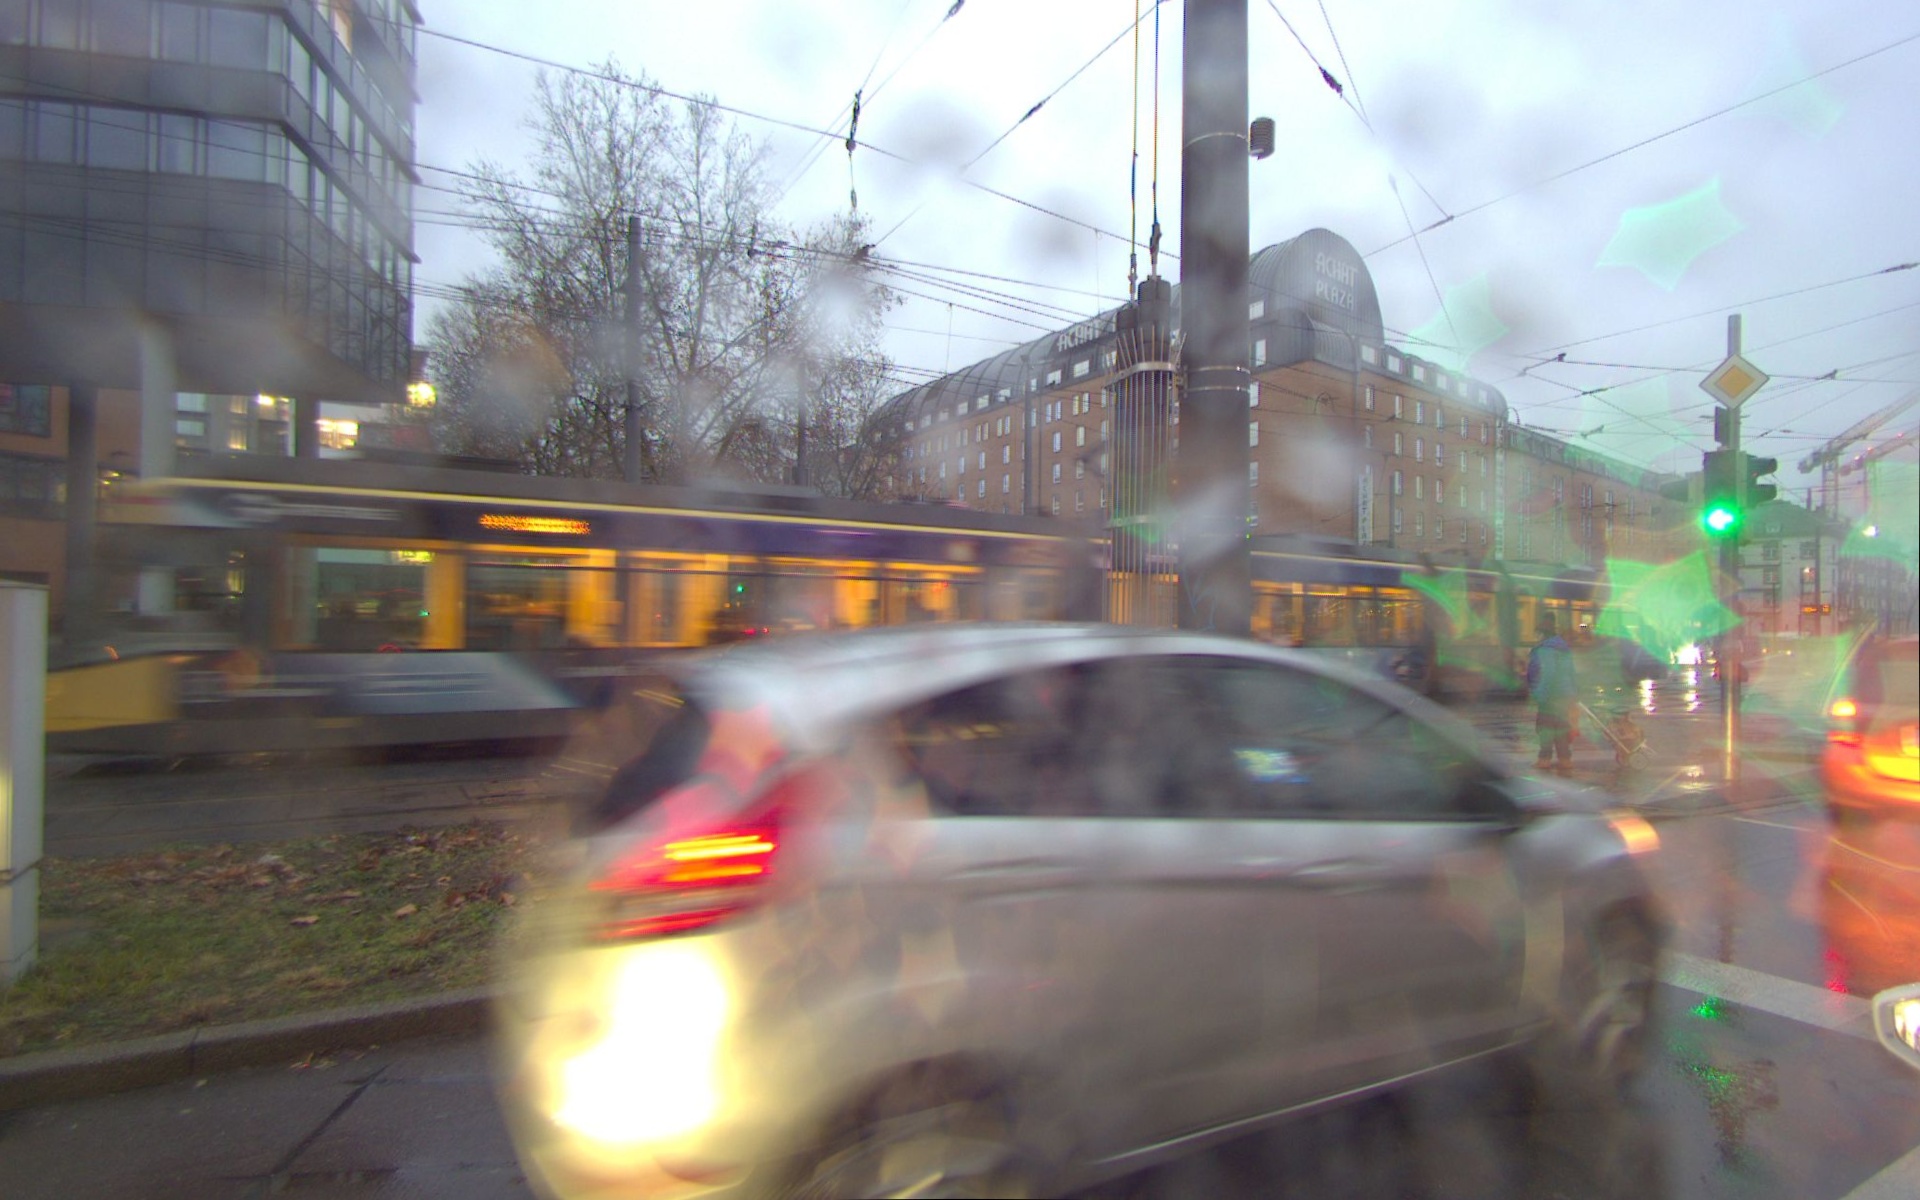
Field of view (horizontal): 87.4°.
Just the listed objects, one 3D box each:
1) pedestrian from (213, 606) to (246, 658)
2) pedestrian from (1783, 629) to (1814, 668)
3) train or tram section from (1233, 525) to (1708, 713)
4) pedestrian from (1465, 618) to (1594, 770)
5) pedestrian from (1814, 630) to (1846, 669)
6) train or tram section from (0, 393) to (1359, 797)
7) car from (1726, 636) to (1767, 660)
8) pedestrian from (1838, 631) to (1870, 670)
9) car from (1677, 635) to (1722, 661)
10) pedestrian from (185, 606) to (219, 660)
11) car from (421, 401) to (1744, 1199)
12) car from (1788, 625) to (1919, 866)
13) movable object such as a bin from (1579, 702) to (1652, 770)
[{"bbox_3d":[-26.764,1.163,36.808,0.561,1.888,0.736,0,-2,5],"label":"pedestrian"},{"bbox_3d":[44.829,2.572,53.706,0.820,2.040,0.980,1,-1,-15],"label":"pedestrian"},{"bbox_3d":[14.438,0.635,26.326,19.029,3.662,2.845,2,-2,-36],"label":"train or tram section"},{"bbox_3d":[6.353,1.029,11.229,1.020,1.621,0.714,1,-3,-16],"label":"pedestrian"},{"bbox_3d":[46.263,2.615,53.434,0.820,2.040,0.980,1,-1,-15],"label":"pedestrian"},{"bbox_3d":[-1.386,0.211,15.422,19.848,3.662,2.849,2,-2,-32],"label":"train or tram section"},{"bbox_3d":[57.297,3.456,73.161,3.839,1.645,1.769,2,-1,-43],"label":"car"},{"bbox_3d":[47.634,2.664,53.546,0.820,2.040,0.980,1,-1,-15],"label":"pedestrian"},{"bbox_3d":[48.986,3.143,66.518,3.839,1.645,1.769,2,-1,-43],"label":"car"},{"bbox_3d":[-26.903,1.156,35.672,0.561,1.888,0.736,0,-2,6],"label":"pedestrian"},{"bbox_3d":[0.585,0.600,3.218,3.954,1.466,1.697,5,-3,-30],"label":"car"},{"bbox_3d":[7.594,0.933,6.951,3.712,1.478,1.690,2,-2,-30],"label":"car"},{"bbox_3d":[7.198,1.485,11.041,0.528,0.708,0.412,1,-3,-6],"label":"movable object such as a bin"}]
